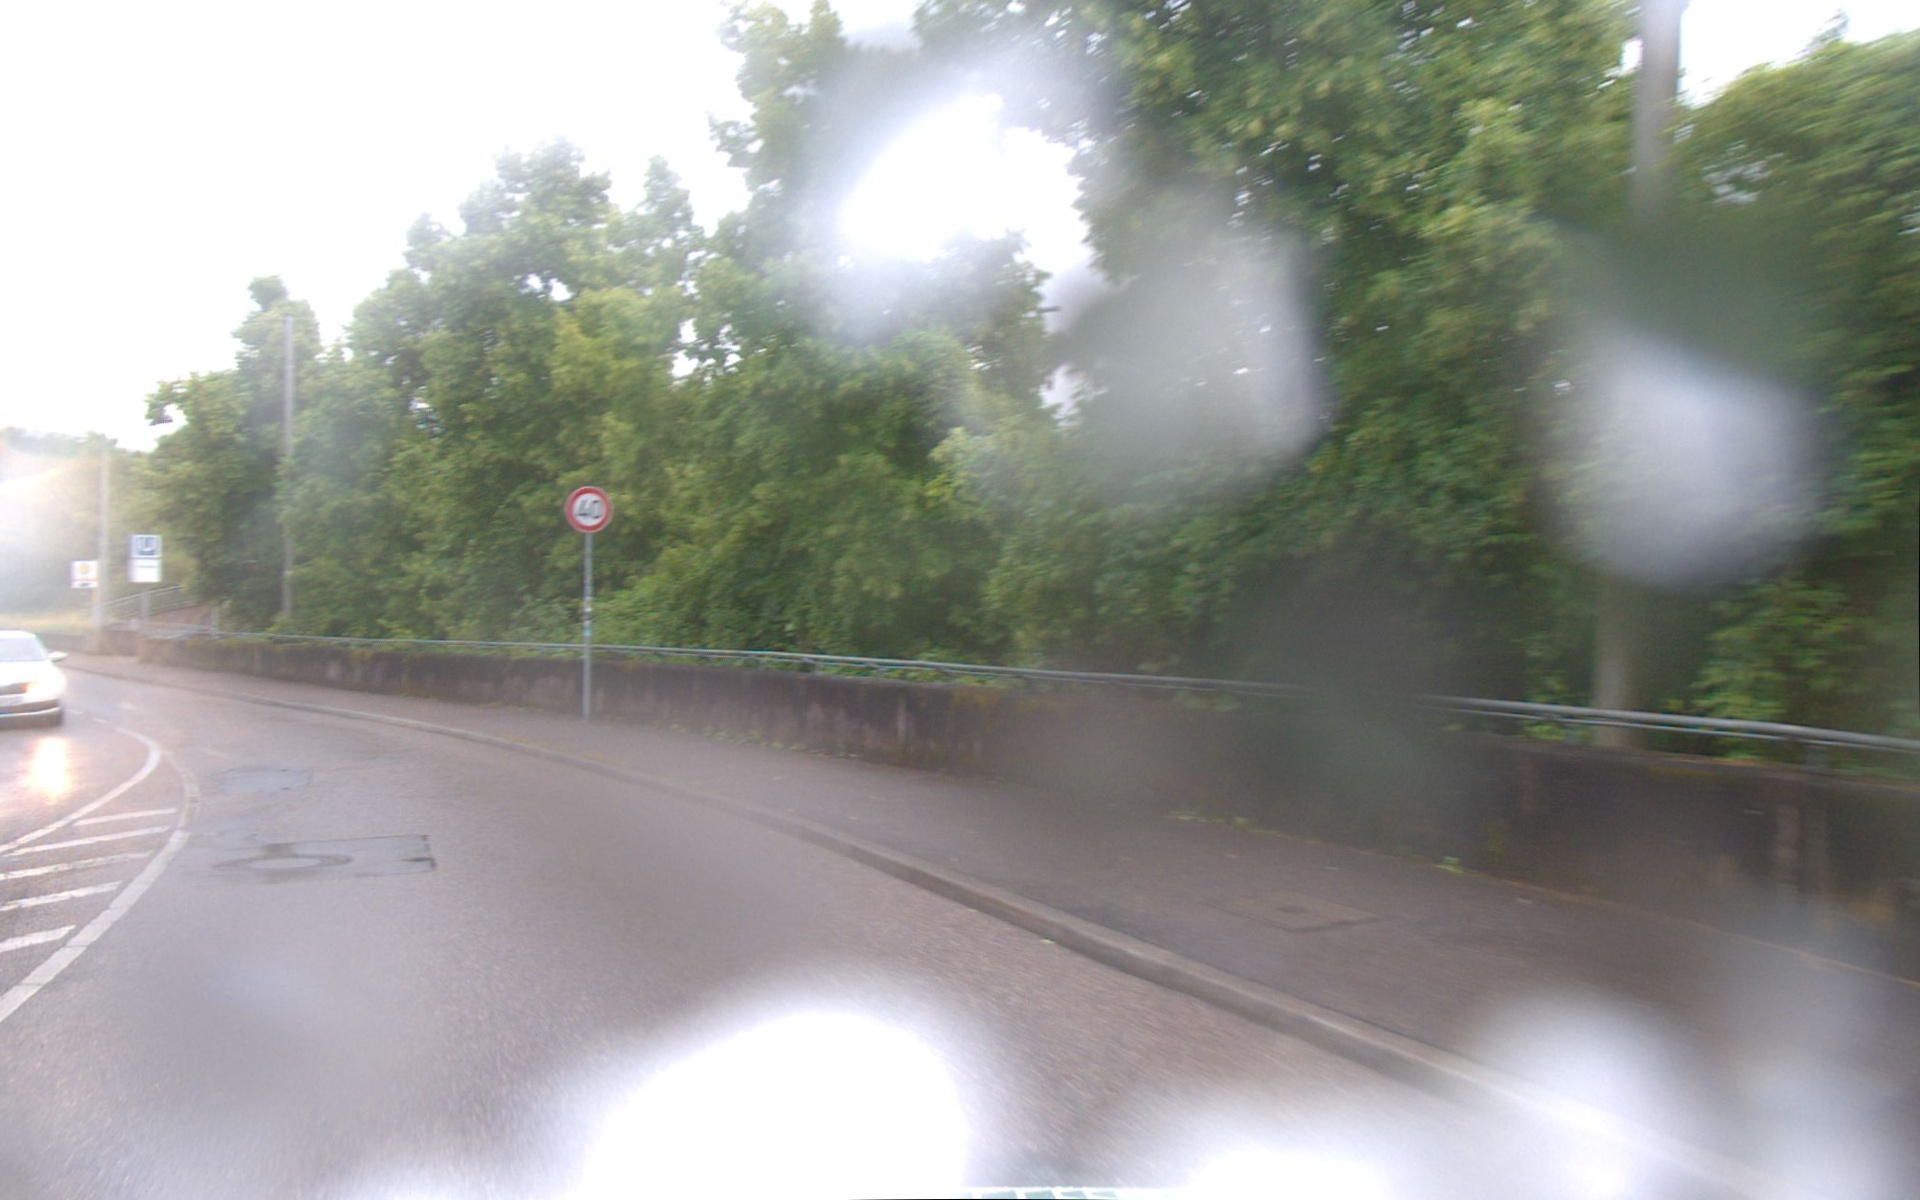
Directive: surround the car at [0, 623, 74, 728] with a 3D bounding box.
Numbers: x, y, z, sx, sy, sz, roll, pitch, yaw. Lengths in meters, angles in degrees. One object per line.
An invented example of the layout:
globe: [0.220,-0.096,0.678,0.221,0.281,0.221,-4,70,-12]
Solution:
car: [-15.472,1.217,26.536,1.831,1.499,4.390,-4,1,-33]
